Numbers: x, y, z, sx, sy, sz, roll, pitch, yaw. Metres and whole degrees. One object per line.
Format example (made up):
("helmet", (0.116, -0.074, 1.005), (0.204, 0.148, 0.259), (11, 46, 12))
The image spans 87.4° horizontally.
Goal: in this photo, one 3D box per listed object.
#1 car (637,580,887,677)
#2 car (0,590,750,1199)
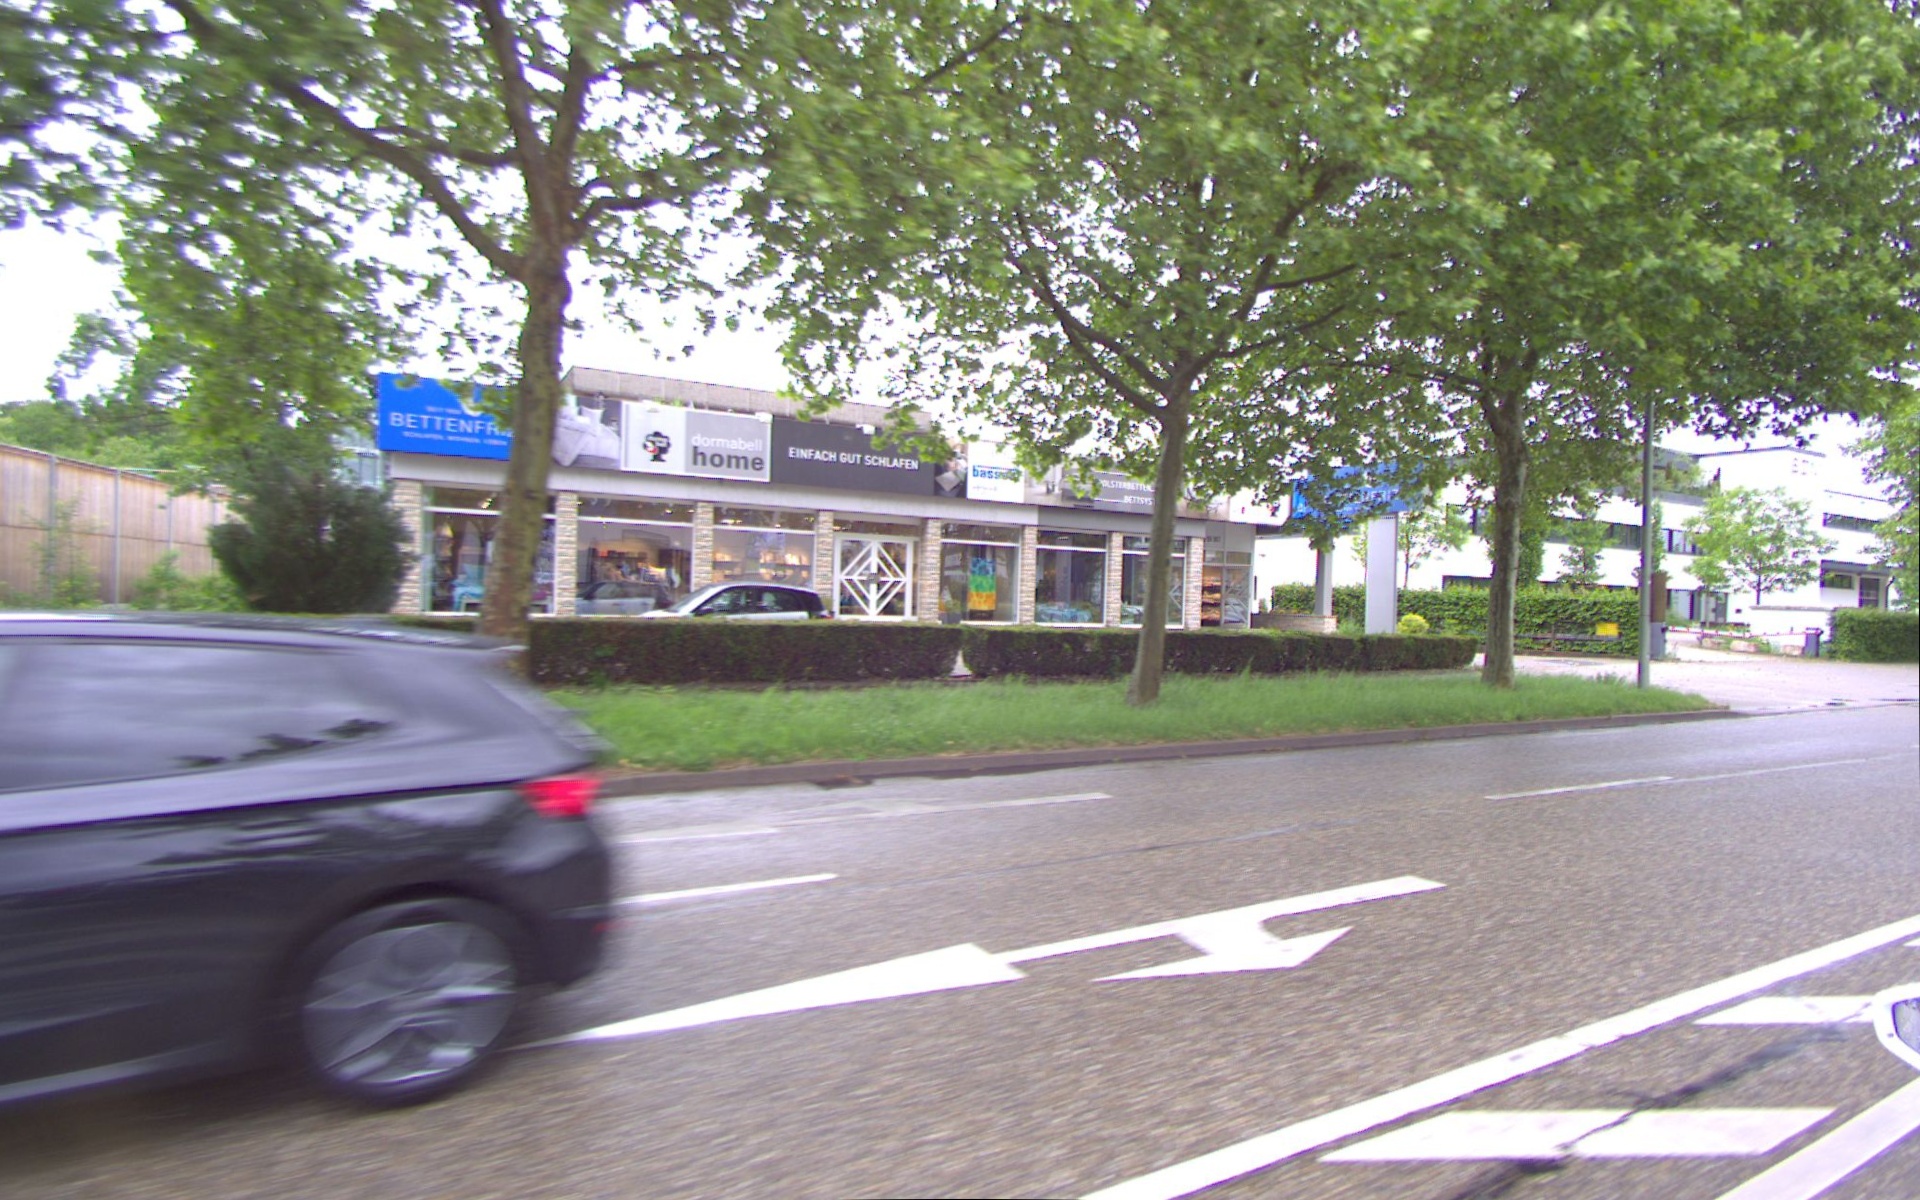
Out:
("car", (-3.424, 0.491, 17.481), (3.894, 1.506, 1.814), (1, -1, -31))
("car", (-2.792, 0.733, 3.156), (3.803, 1.482, 1.794), (1, -2, -32))
